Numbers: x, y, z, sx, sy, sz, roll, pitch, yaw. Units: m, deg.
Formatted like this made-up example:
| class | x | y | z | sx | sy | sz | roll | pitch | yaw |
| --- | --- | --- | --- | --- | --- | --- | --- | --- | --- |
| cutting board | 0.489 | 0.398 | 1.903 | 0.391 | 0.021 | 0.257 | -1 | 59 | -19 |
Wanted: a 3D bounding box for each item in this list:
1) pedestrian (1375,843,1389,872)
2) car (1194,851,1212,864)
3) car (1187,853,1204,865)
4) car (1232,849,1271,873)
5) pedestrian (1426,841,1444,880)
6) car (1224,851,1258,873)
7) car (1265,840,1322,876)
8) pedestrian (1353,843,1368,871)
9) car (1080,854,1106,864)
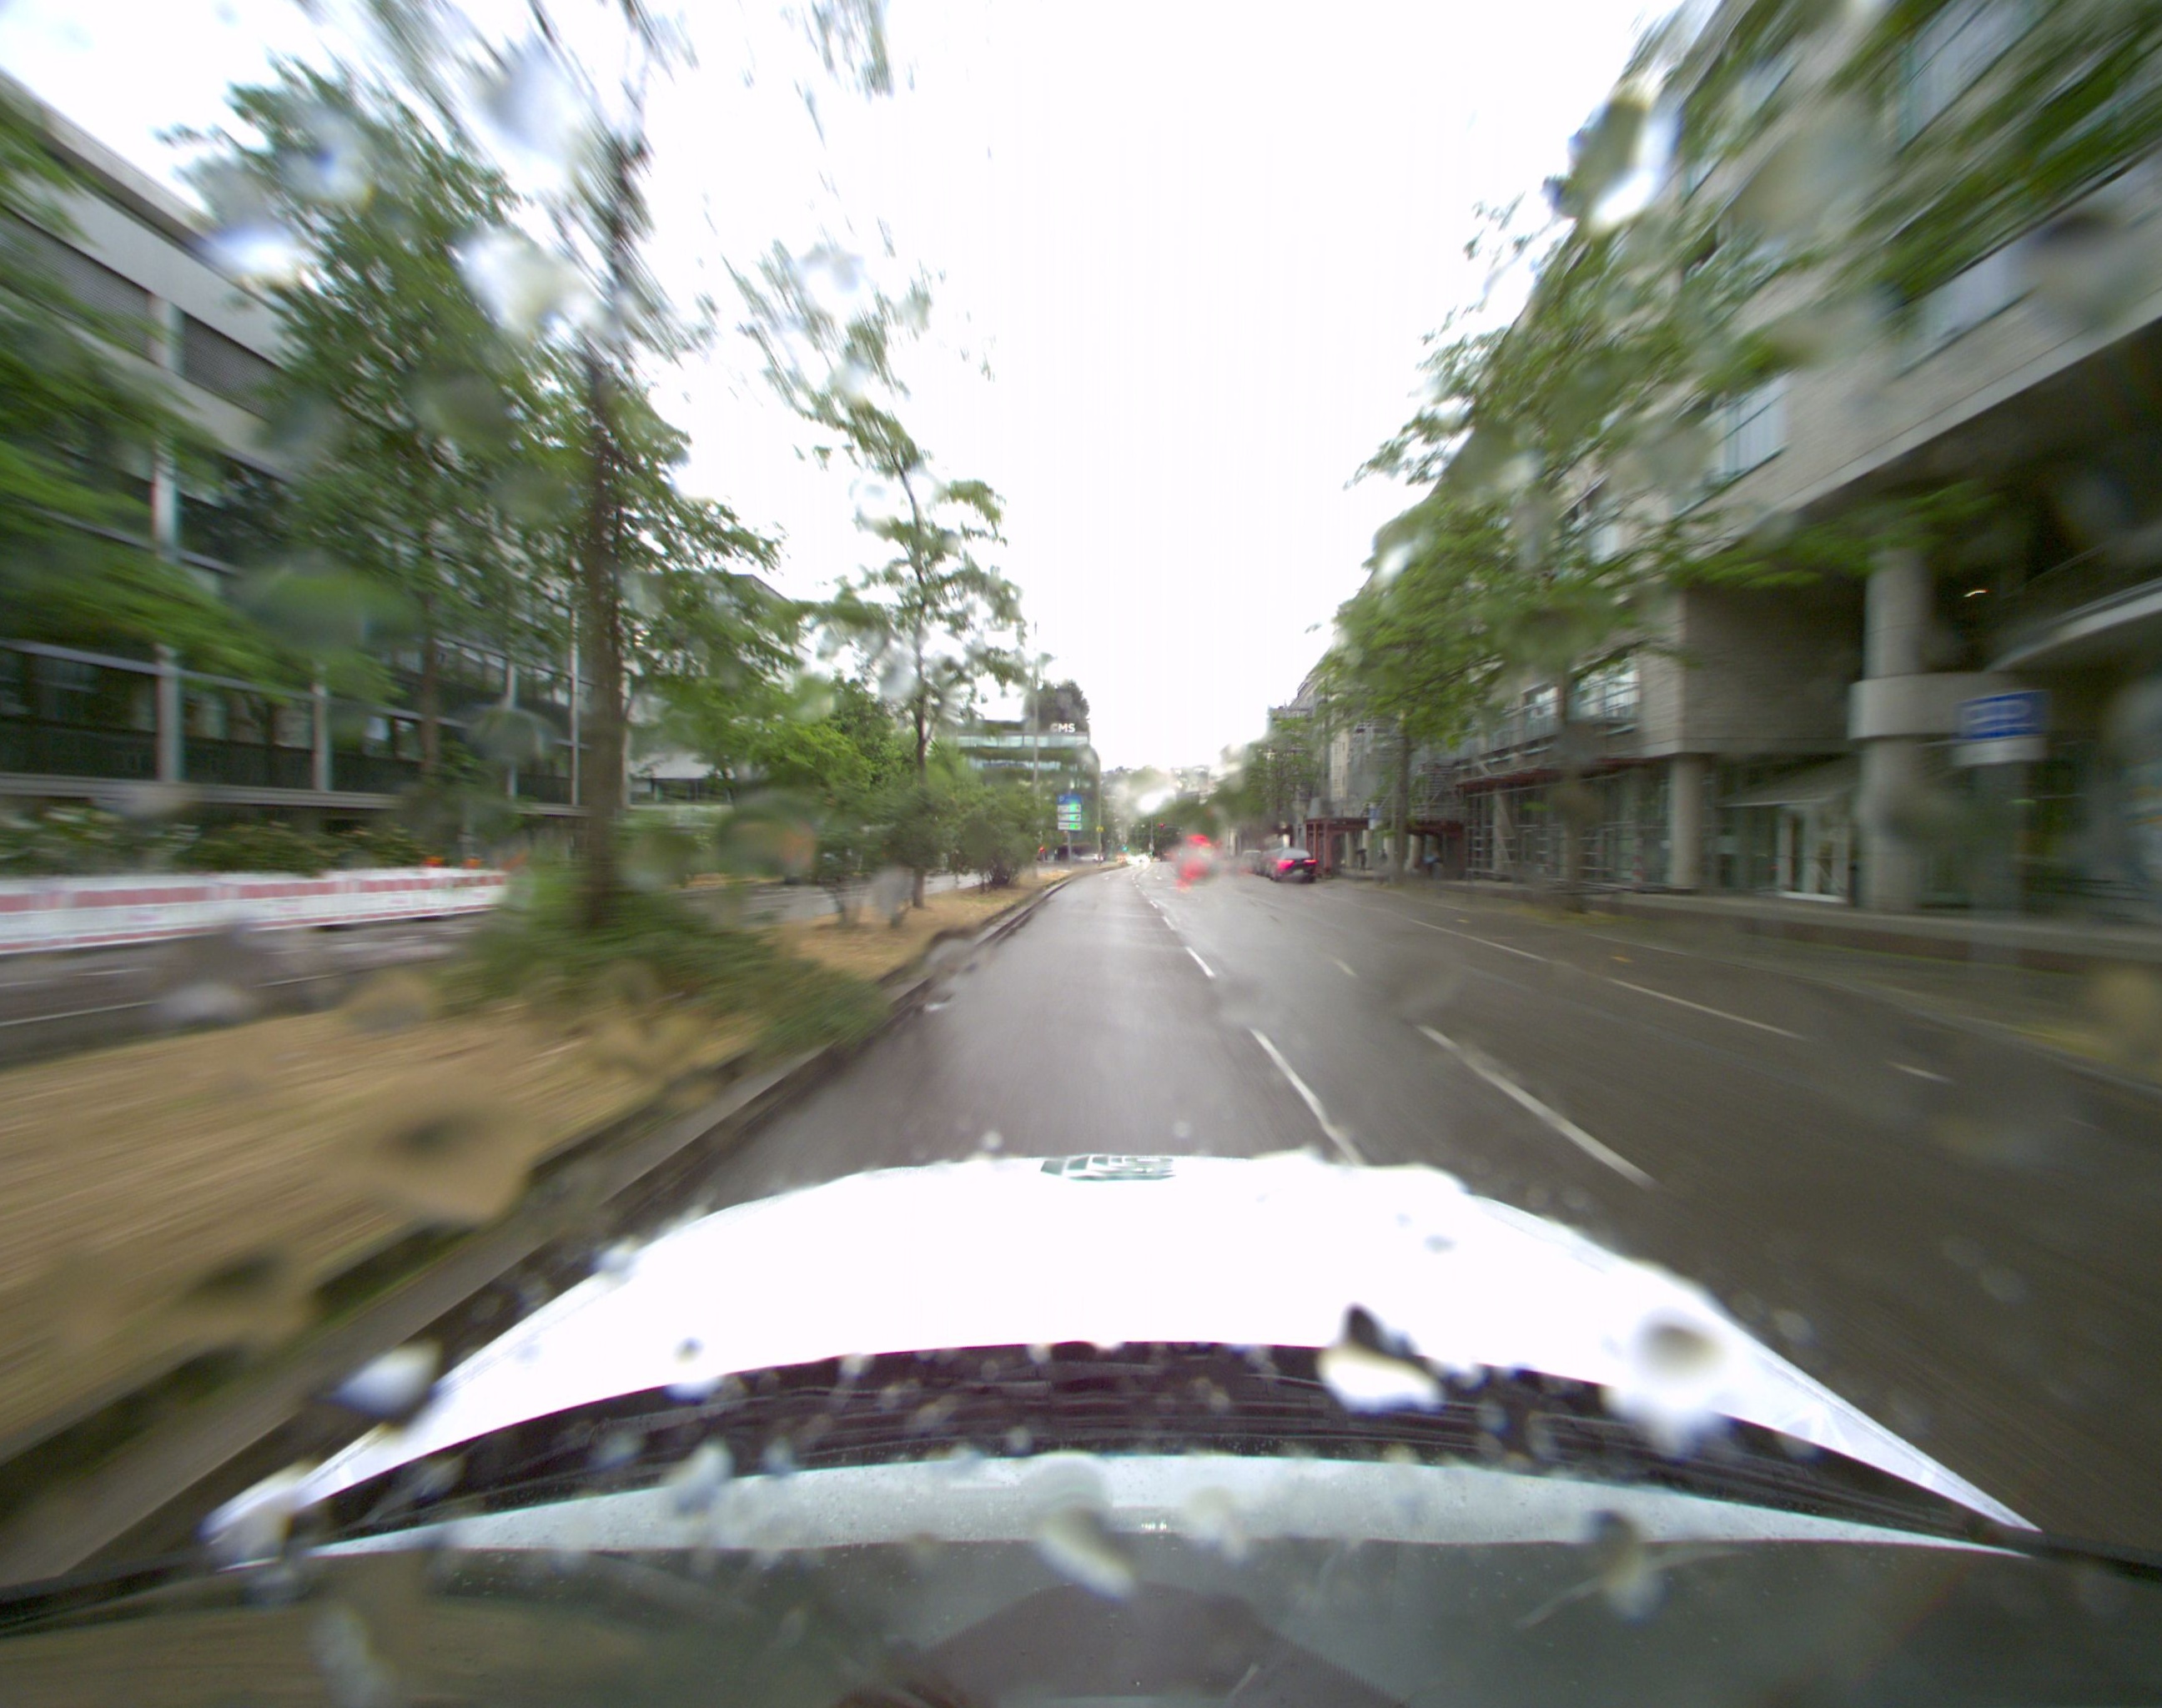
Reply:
| class | x | y | z | sx | sy | sz | roll | pitch | yaw |
| --- | --- | --- | --- | --- | --- | --- | --- | --- | --- |
| pedestrian | 20.459 | 0.229 | 55.311 | 0.770 | 1.920 | 0.705 | -1 | -1 | 12 |
| car | 16.806 | 0.523 | 112.589 | 1.986 | 1.724 | 4.001 | -1 | -1 | 1 |
| car | 17.365 | 0.736 | 123.728 | 1.978 | 1.736 | 4.017 | -1 | -1 | 17 |
| car | 10.877 | 0.432 | 52.192 | 1.837 | 1.492 | 4.003 | -1 | 0 | 3 |
| pedestrian | 17.587 | 0.347 | 40.466 | 0.769 | 1.920 | 0.706 | -1 | -1 | 18 |
| car | 11.557 | 0.552 | 58.872 | 1.837 | 1.492 | 4.003 | -1 | 0 | 3 |
| car | 10.463 | 0.180 | 40.397 | 2.324 | 1.691 | 4.010 | -1 | 0 | 9 |
| pedestrian | 19.334 | 0.233 | 56.275 | 0.772 | 1.920 | 0.703 | -1 | -1 | 1 |
| car | 2.109 | 0.835 | 145.593 | 4.244 | 1.640 | 1.846 | -1 | 0 | 33 |
